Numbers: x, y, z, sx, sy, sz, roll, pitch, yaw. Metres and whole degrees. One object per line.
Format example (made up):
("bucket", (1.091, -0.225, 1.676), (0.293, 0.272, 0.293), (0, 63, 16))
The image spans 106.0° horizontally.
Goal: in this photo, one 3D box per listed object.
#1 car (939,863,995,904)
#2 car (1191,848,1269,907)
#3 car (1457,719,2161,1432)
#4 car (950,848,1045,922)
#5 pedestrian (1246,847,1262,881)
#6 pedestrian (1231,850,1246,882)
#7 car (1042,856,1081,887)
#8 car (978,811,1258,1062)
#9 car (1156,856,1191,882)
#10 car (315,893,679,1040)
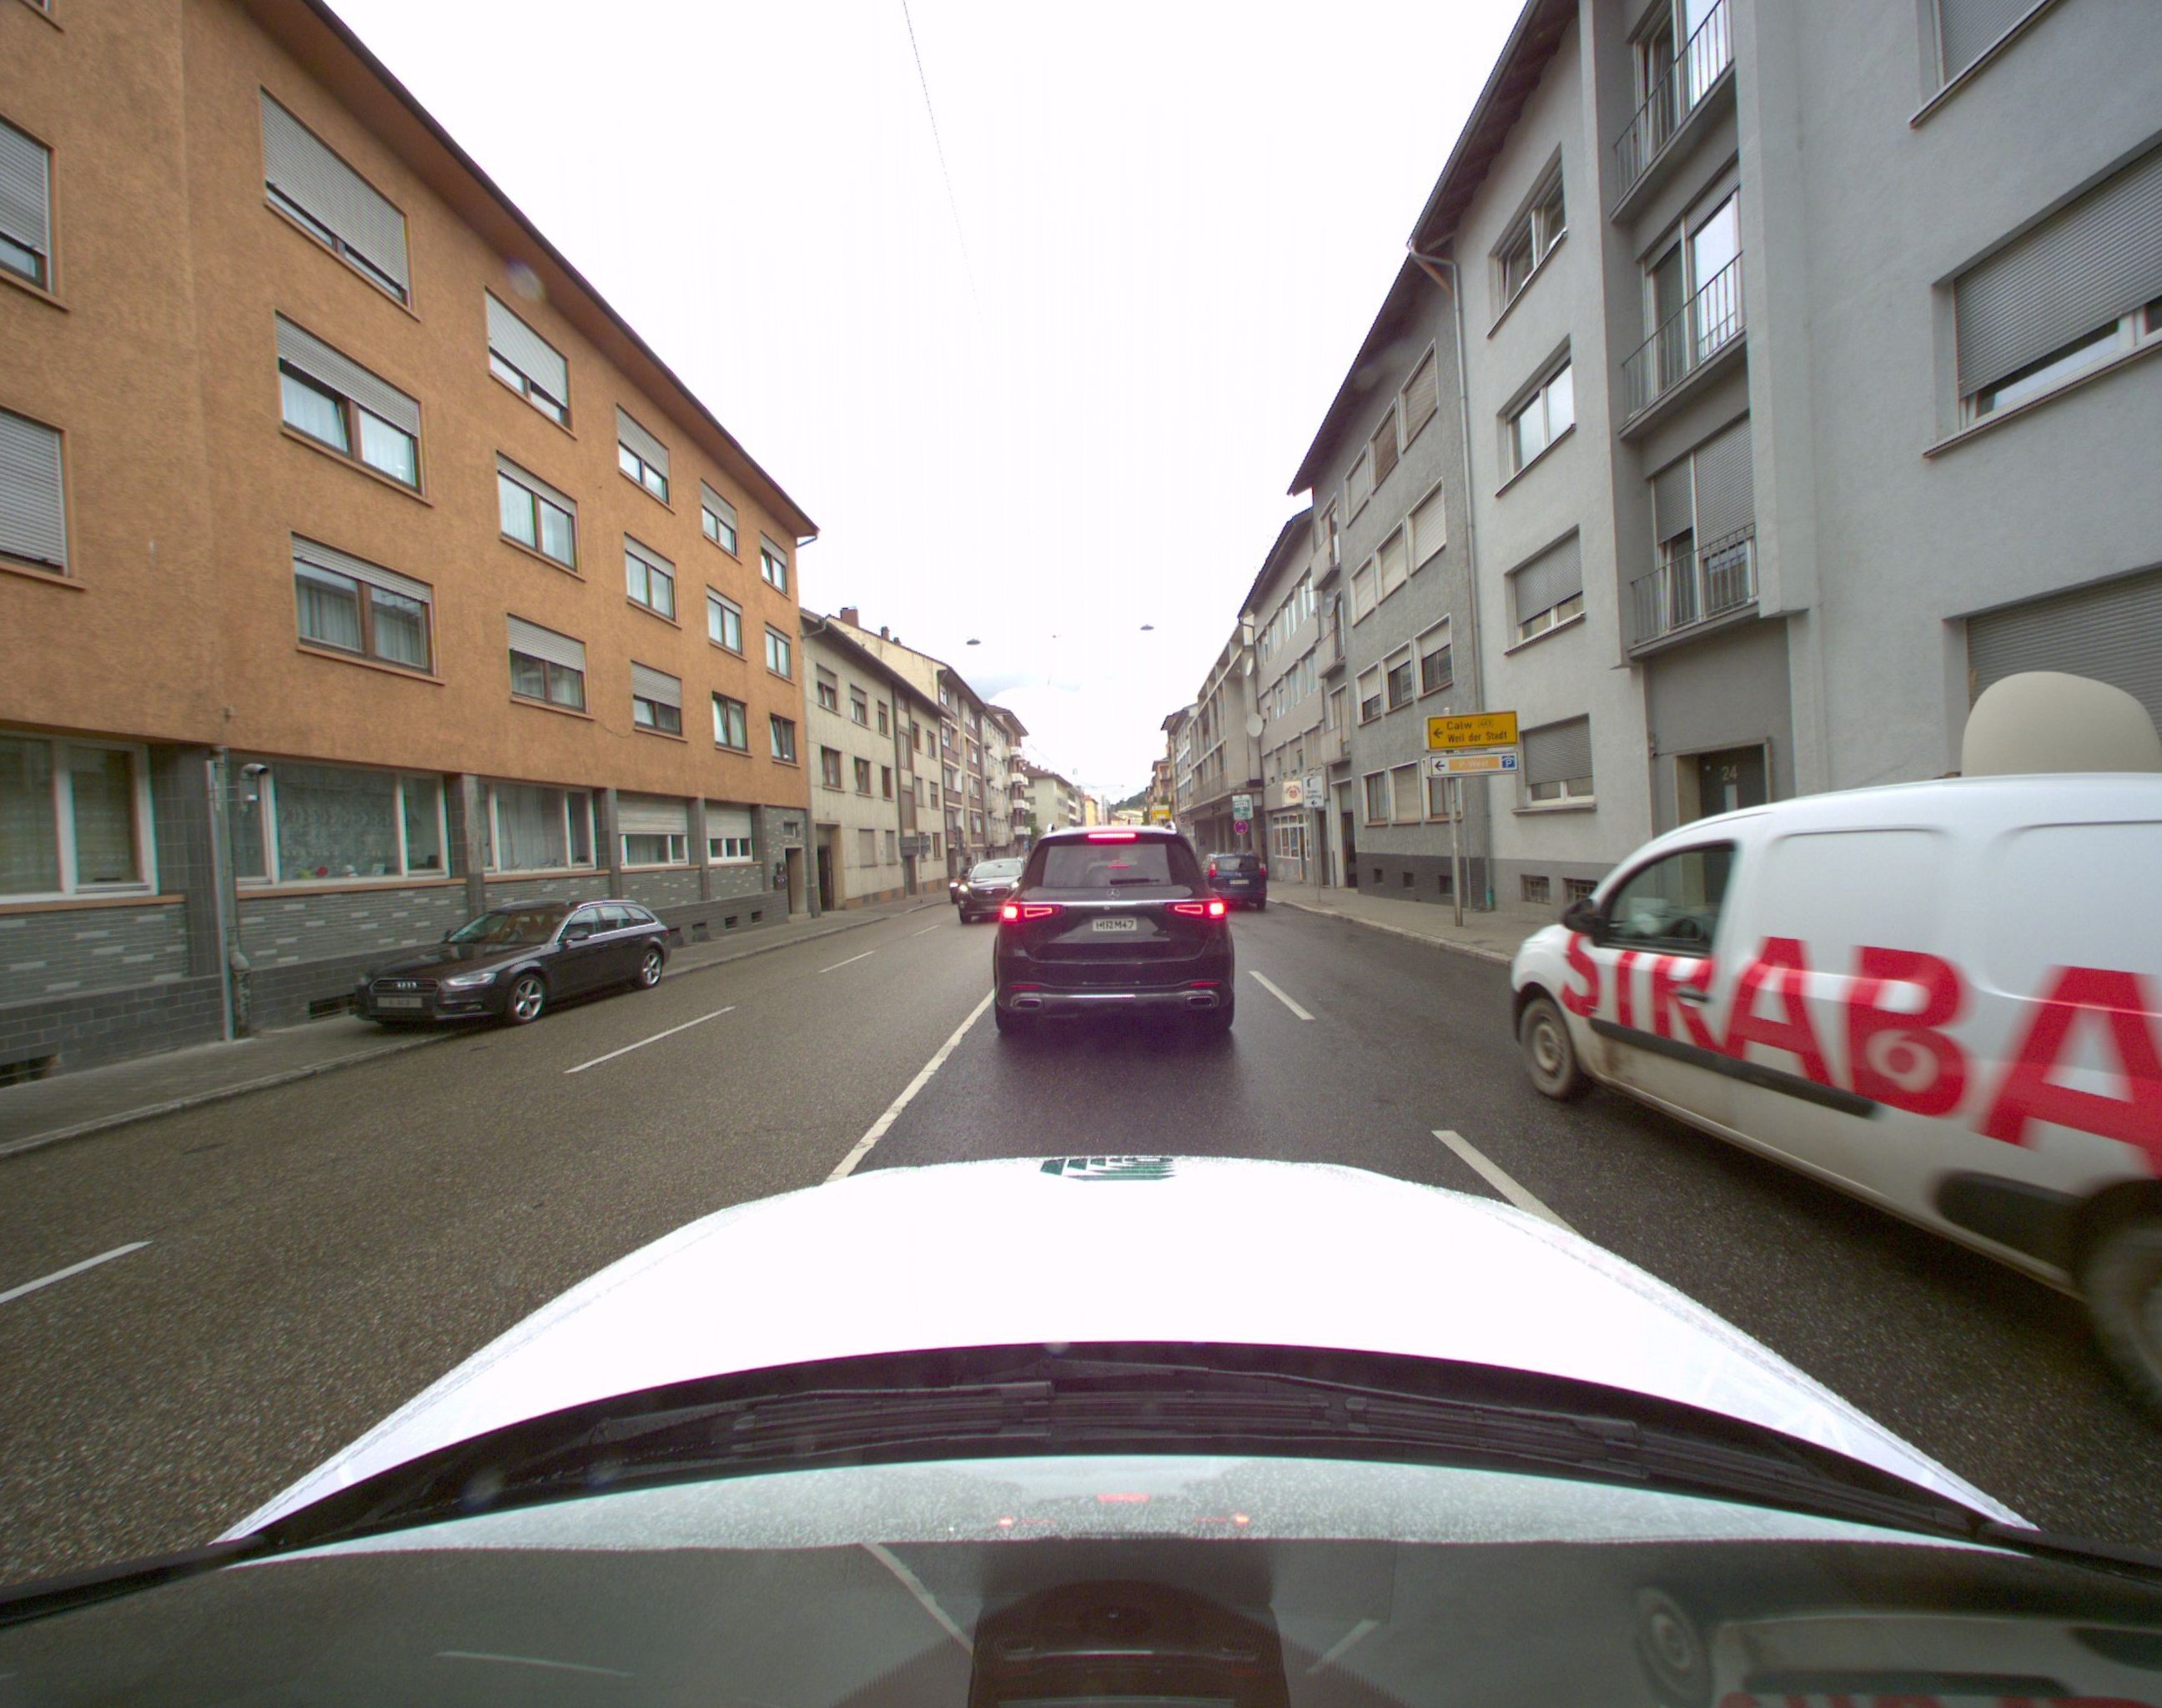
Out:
("car", (-5.060, 1.283, 36.729), (1.792, 1.584, 4.315), (-5, 0, 0))
("car", (4.372, 0.648, 24.429), (1.800, 1.606, 4.216), (-1, 0, 4))
("car", (3.705, 0.537, 3.676), (1.933, 1.775, 4.748), (-1, 0, 2))
("car", (-2.244, 0.796, 23.104), (1.828, 1.727, 4.479), (-5, 0, 4))
("pedestrian", (8.362, 0.483, 39.371), (0.558, 1.578, 0.526), (-5, 0, 1))
("pedestrian", (7.603, 0.588, 39.364), (0.504, 1.500, 0.562), (-5, 0, 1))
("car", (-1.164, 1.067, 51.537), (2.119, 1.720, 4.819), (-5, 0, 1))
("car", (0.314, 0.600, 7.913), (2.018, 1.806, 4.001), (0, 0, 1))
("car", (5.316, 0.833, 47.349), (1.615, 1.430, 4.313), (0, 0, 1))
("car", (-7.732, 1.387, 11.489), (1.789, 1.438, 4.528), (0, 0, 1))
